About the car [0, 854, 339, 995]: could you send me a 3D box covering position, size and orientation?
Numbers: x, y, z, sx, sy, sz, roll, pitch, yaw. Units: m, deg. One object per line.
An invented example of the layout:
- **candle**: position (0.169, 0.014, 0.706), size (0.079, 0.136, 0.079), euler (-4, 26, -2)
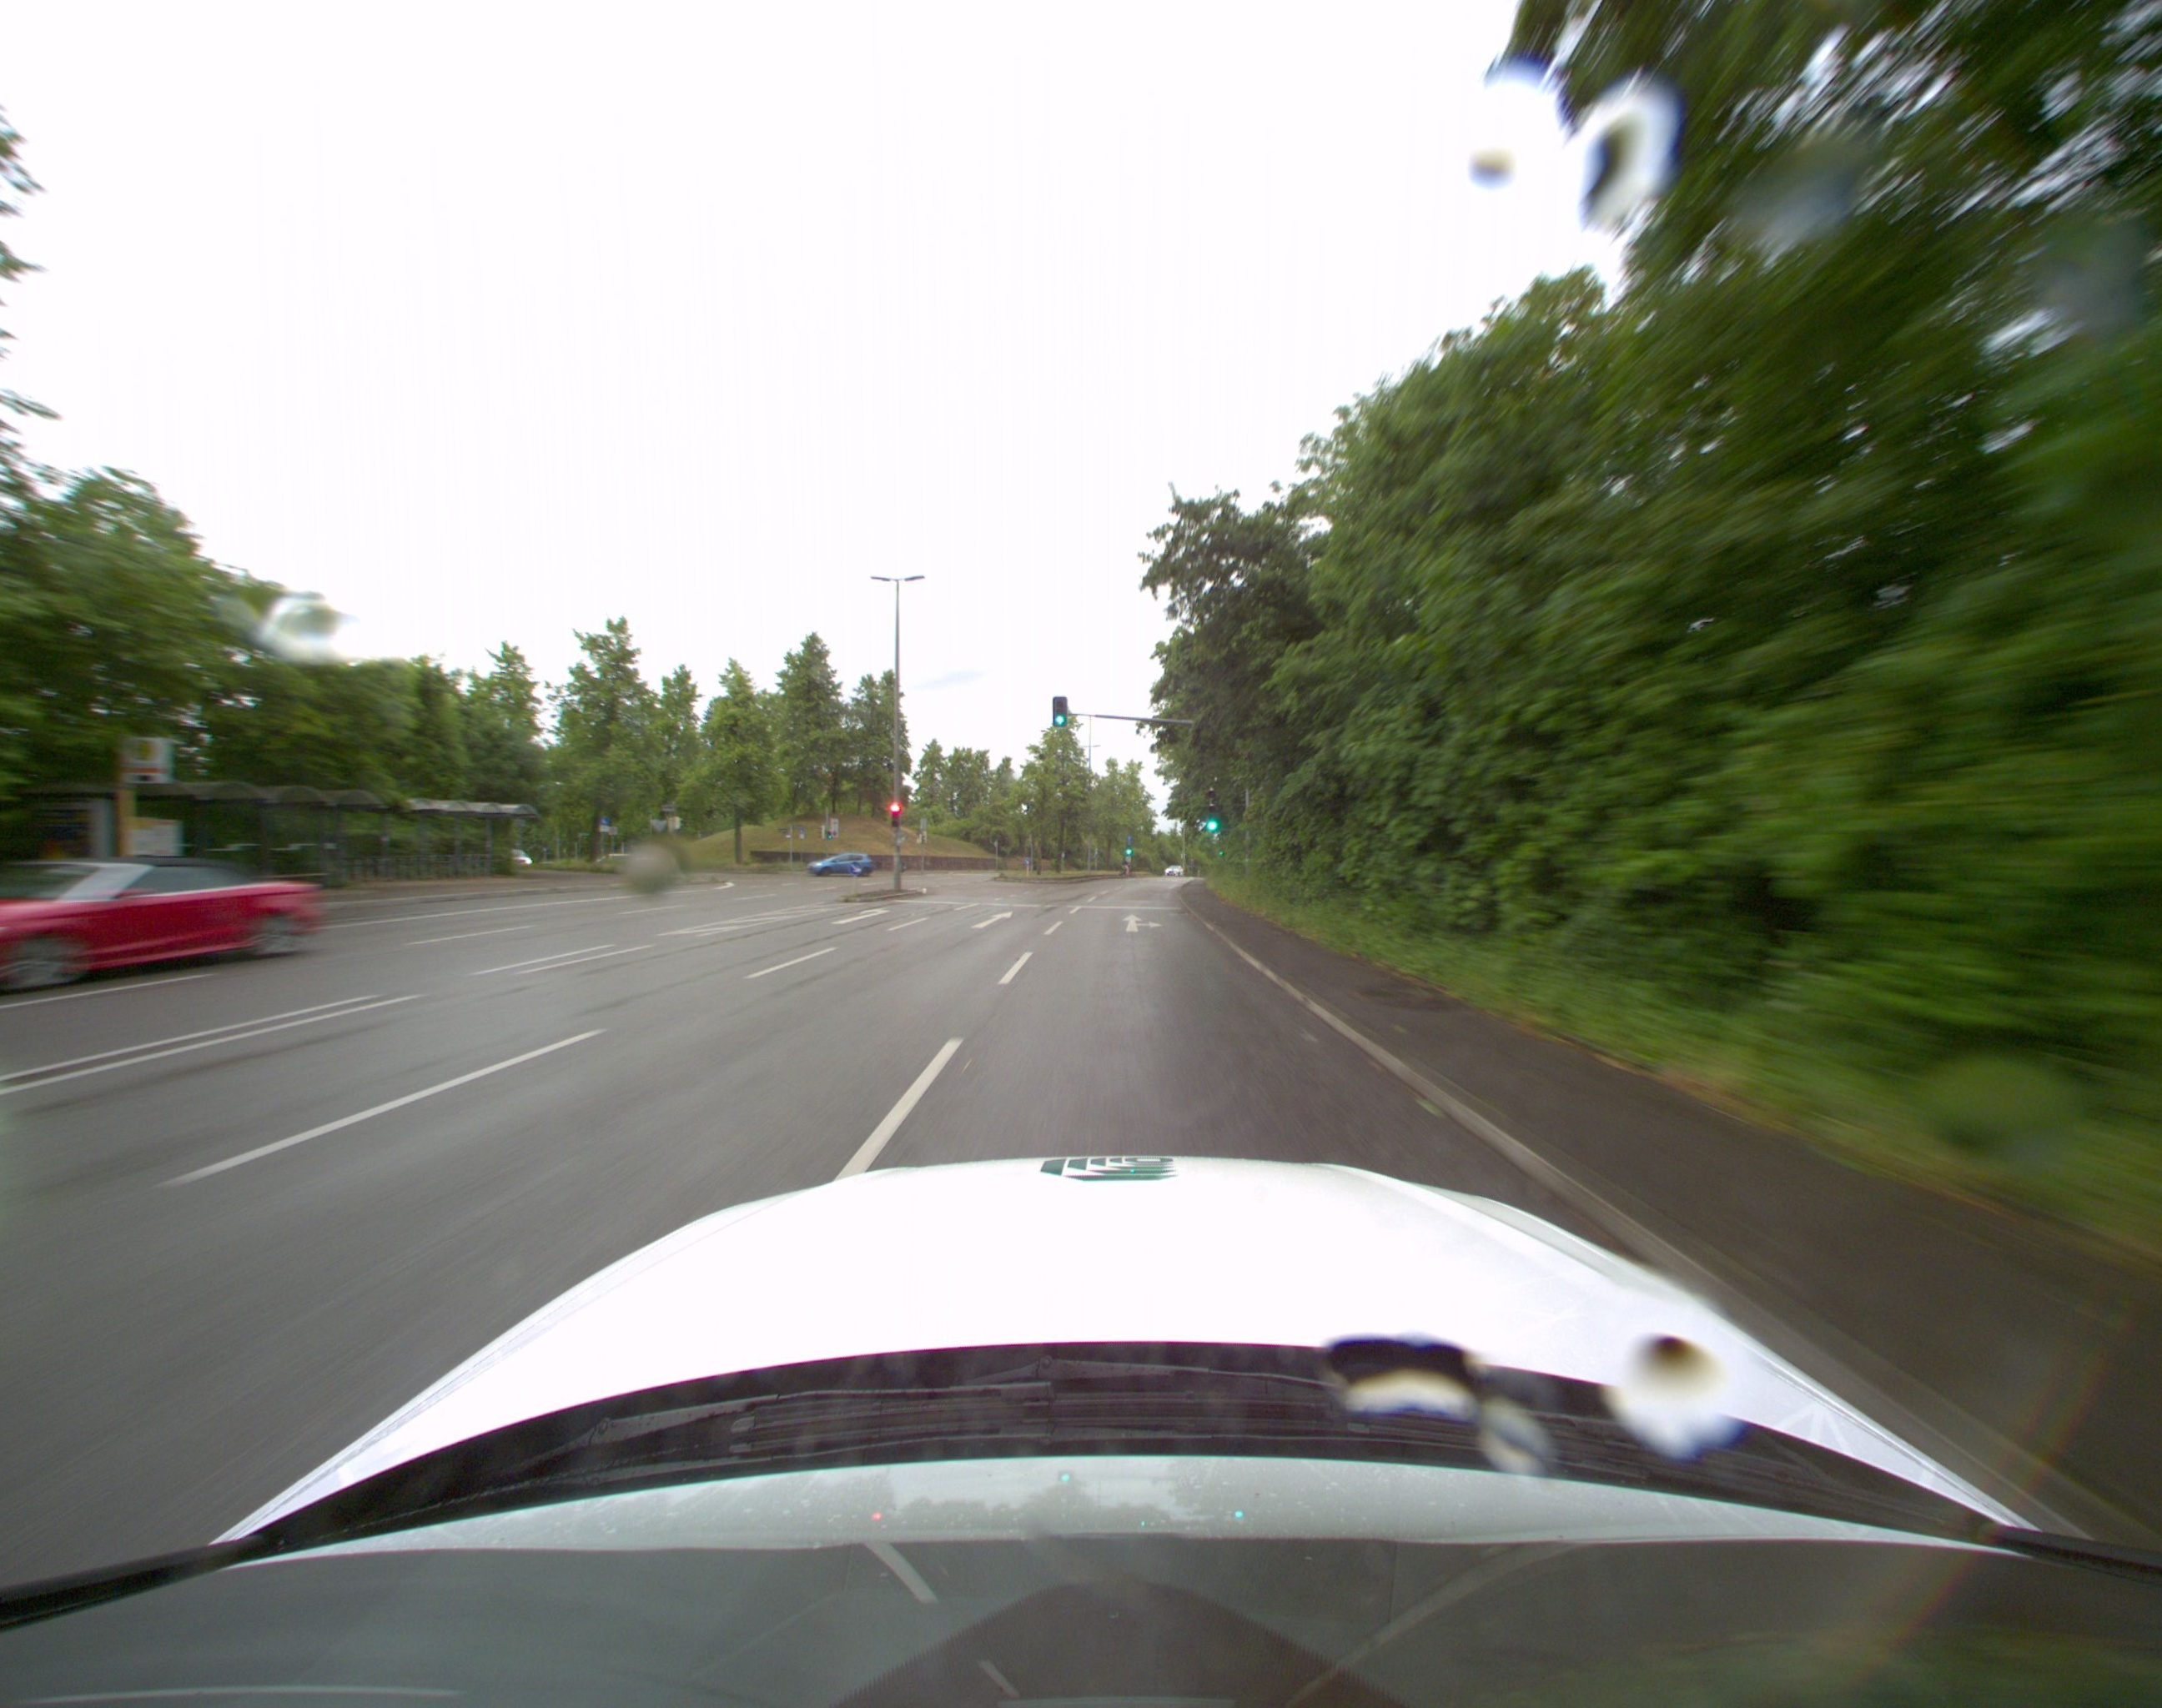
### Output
- **car**: position (-11.934, 0.723, 9.911), size (1.870, 1.374, 4.381), euler (0, 1, -2)

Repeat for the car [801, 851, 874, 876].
- **car**: position (-15.282, 0.602, 51.137), size (3.955, 1.490, 1.978), euler (0, 0, -37)

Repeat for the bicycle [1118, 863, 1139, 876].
- **bicycle**: position (4.262, 1.418, 73.219), size (2.151, 1.143, 0.547), euler (2, -2, -41)

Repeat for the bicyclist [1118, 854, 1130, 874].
- **bicyclist**: position (3.906, 0.946, 73.246), size (0.805, 1.753, 0.716), euler (4, -5, -41)

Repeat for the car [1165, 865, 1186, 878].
- **car**: position (13.776, 2.572, 118.560), size (1.929, 1.636, 5.029), euler (1, -2, 20)
